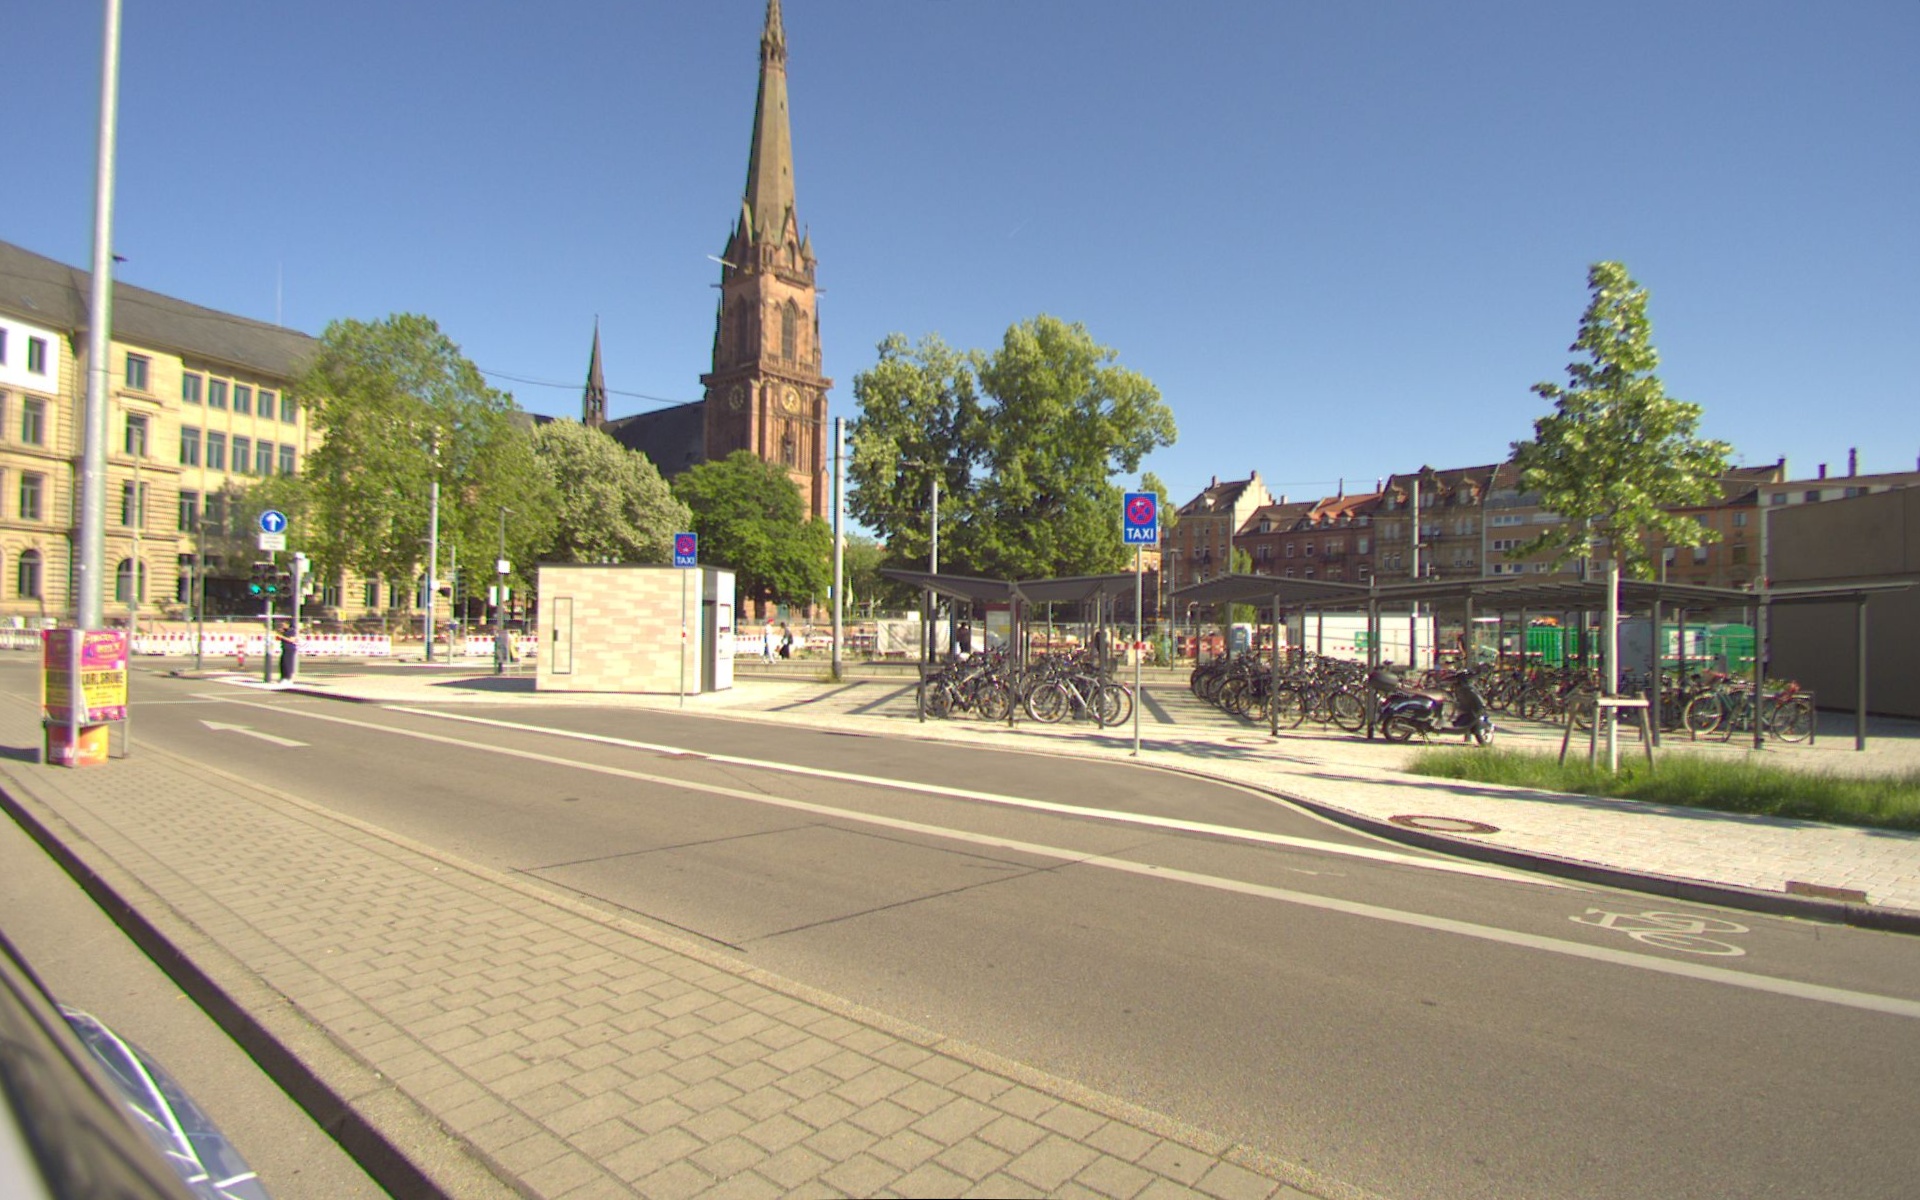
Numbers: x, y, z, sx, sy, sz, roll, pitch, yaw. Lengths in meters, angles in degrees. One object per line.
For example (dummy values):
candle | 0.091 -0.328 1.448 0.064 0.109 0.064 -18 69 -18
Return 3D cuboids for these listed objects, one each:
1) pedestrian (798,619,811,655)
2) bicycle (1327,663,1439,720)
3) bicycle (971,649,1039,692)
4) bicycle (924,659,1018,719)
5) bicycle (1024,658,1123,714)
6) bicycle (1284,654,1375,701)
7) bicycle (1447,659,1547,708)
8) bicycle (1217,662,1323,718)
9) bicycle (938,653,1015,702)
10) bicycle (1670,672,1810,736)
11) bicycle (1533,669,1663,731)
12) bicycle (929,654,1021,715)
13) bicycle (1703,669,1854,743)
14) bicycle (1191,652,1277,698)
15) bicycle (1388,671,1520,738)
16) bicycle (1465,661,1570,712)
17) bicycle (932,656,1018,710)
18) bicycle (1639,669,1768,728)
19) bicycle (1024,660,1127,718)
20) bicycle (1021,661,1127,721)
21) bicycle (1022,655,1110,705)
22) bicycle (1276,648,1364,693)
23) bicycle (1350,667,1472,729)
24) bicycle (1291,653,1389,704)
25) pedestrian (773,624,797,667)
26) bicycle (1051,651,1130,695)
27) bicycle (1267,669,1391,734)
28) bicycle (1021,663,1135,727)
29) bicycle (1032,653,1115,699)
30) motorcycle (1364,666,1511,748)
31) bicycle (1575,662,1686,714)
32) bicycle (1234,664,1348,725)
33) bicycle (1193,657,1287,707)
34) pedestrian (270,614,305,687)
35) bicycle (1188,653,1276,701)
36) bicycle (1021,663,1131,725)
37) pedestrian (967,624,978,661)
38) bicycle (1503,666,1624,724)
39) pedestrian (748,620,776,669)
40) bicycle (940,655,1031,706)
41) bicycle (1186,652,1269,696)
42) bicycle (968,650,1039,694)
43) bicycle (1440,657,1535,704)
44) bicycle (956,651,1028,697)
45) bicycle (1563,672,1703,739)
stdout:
pedestrian | -9.231 2.195 60.150 0.545 2.171 0.568 0 -2 15
bicycle | 7.919 1.711 19.000 1.882 1.016 0.456 0 -2 8
bicycle | 1.108 1.729 24.946 1.652 1.016 0.456 0 -2 8
bicycle | 0.202 1.585 18.195 1.652 1.016 0.456 0 -2 8
bicycle | 2.197 1.658 19.588 1.882 1.016 0.456 0 -2 8
bicycle | 8.317 1.734 22.822 1.882 1.016 0.456 0 -2 8
bicycle | 11.785 1.823 22.247 1.882 1.016 0.456 0 -2 8
bicycle | 5.899 1.707 19.327 1.882 1.016 0.456 0 -2 8
bicycle | 0.372 1.690 22.228 1.652 1.016 0.456 0 -2 8
bicycle | 13.130 1.742 17.069 1.882 1.016 0.456 0 -2 8
bicycle | 11.102 1.731 17.645 1.882 1.016 0.456 0 -2 8
bicycle | 0.281 1.558 18.780 1.652 1.069 0.456 0 -2 8
bicycle | 13.083 1.684 16.210 1.882 1.106 0.456 0 -2 8
bicycle | 6.367 1.731 23.571 1.882 1.016 0.456 0 -2 8
bicycle | 8.029 1.691 16.497 1.882 1.016 0.456 0 -2 8
bicycle | 11.715 1.813 21.317 1.882 1.016 0.456 0 -2 8
bicycle | 0.306 1.625 19.892 1.652 1.016 0.456 0 -2 8
bicycle | 13.470 1.775 18.368 1.882 1.016 0.456 0 -2 8
bicycle | 2.138 1.645 18.747 1.882 1.016 0.456 0 -2 8
bicycle | 2.055 1.632 18.265 1.882 1.016 0.456 0 -2 8
bicycle | 2.298 1.721 21.924 1.882 1.016 0.456 0 -2 8
bicycle | 8.487 1.651 23.914 1.882 1.016 0.456 0 -2 8
bicycle | 7.895 1.708 17.767 1.882 1.016 0.456 0 -2 8
bicycle | 8.058 1.660 21.523 1.882 1.016 0.456 0 -2 8
pedestrian | -7.400 1.899 42.846 0.792 1.793 0.977 0 -2 3
bicycle | 3.163 1.776 24.603 1.882 1.016 0.456 0 -2 8
bicycle | 6.122 1.681 16.843 1.882 1.016 0.456 0 -2 8
bicycle | 1.990 1.602 17.118 1.882 1.016 0.456 0 -2 8
bicycle | 2.607 1.747 23.307 1.882 1.016 0.456 0 -2 8
motorcycle | 7.162 1.601 15.229 1.924 1.160 0.516 0 -2 6
bicycle | 13.874 1.817 20.975 1.882 1.016 0.456 0 -2 8
bicycle | 5.901 1.682 18.096 1.882 1.016 0.456 0 -2 8
bicycle | 5.966 1.746 21.613 1.882 1.016 0.456 0 -2 8
pedestrian | -17.590 1.318 26.476 0.683 1.868 0.680 2 -2 -36
bicycle | 6.150 1.737 22.947 1.882 1.016 0.456 0 -2 8
bicycle | 2.020 1.623 17.678 1.882 1.016 0.456 0 -2 8
pedestrian | 0.594 1.992 47.581 0.399 1.734 0.419 1 -2 -11
bicycle | 11.165 1.755 18.761 1.882 1.016 0.456 0 -2 8
pedestrian | -7.391 1.642 37.778 0.792 1.793 0.977 0 -2 3
bicycle | 0.544 1.674 21.230 1.882 1.016 0.456 0 -2 8
bicycle | 6.394 1.761 24.229 1.882 1.016 0.456 0 -2 8
bicycle | 1.043 1.714 24.230 1.652 1.016 0.456 0 -2 8
bicycle | 12.080 1.835 23.198 1.882 1.016 0.456 0 -2 8
bicycle | 0.747 1.709 23.485 1.652 1.016 0.456 0 -2 8
bicycle | 10.973 1.716 16.540 1.882 1.016 0.456 0 -2 8
